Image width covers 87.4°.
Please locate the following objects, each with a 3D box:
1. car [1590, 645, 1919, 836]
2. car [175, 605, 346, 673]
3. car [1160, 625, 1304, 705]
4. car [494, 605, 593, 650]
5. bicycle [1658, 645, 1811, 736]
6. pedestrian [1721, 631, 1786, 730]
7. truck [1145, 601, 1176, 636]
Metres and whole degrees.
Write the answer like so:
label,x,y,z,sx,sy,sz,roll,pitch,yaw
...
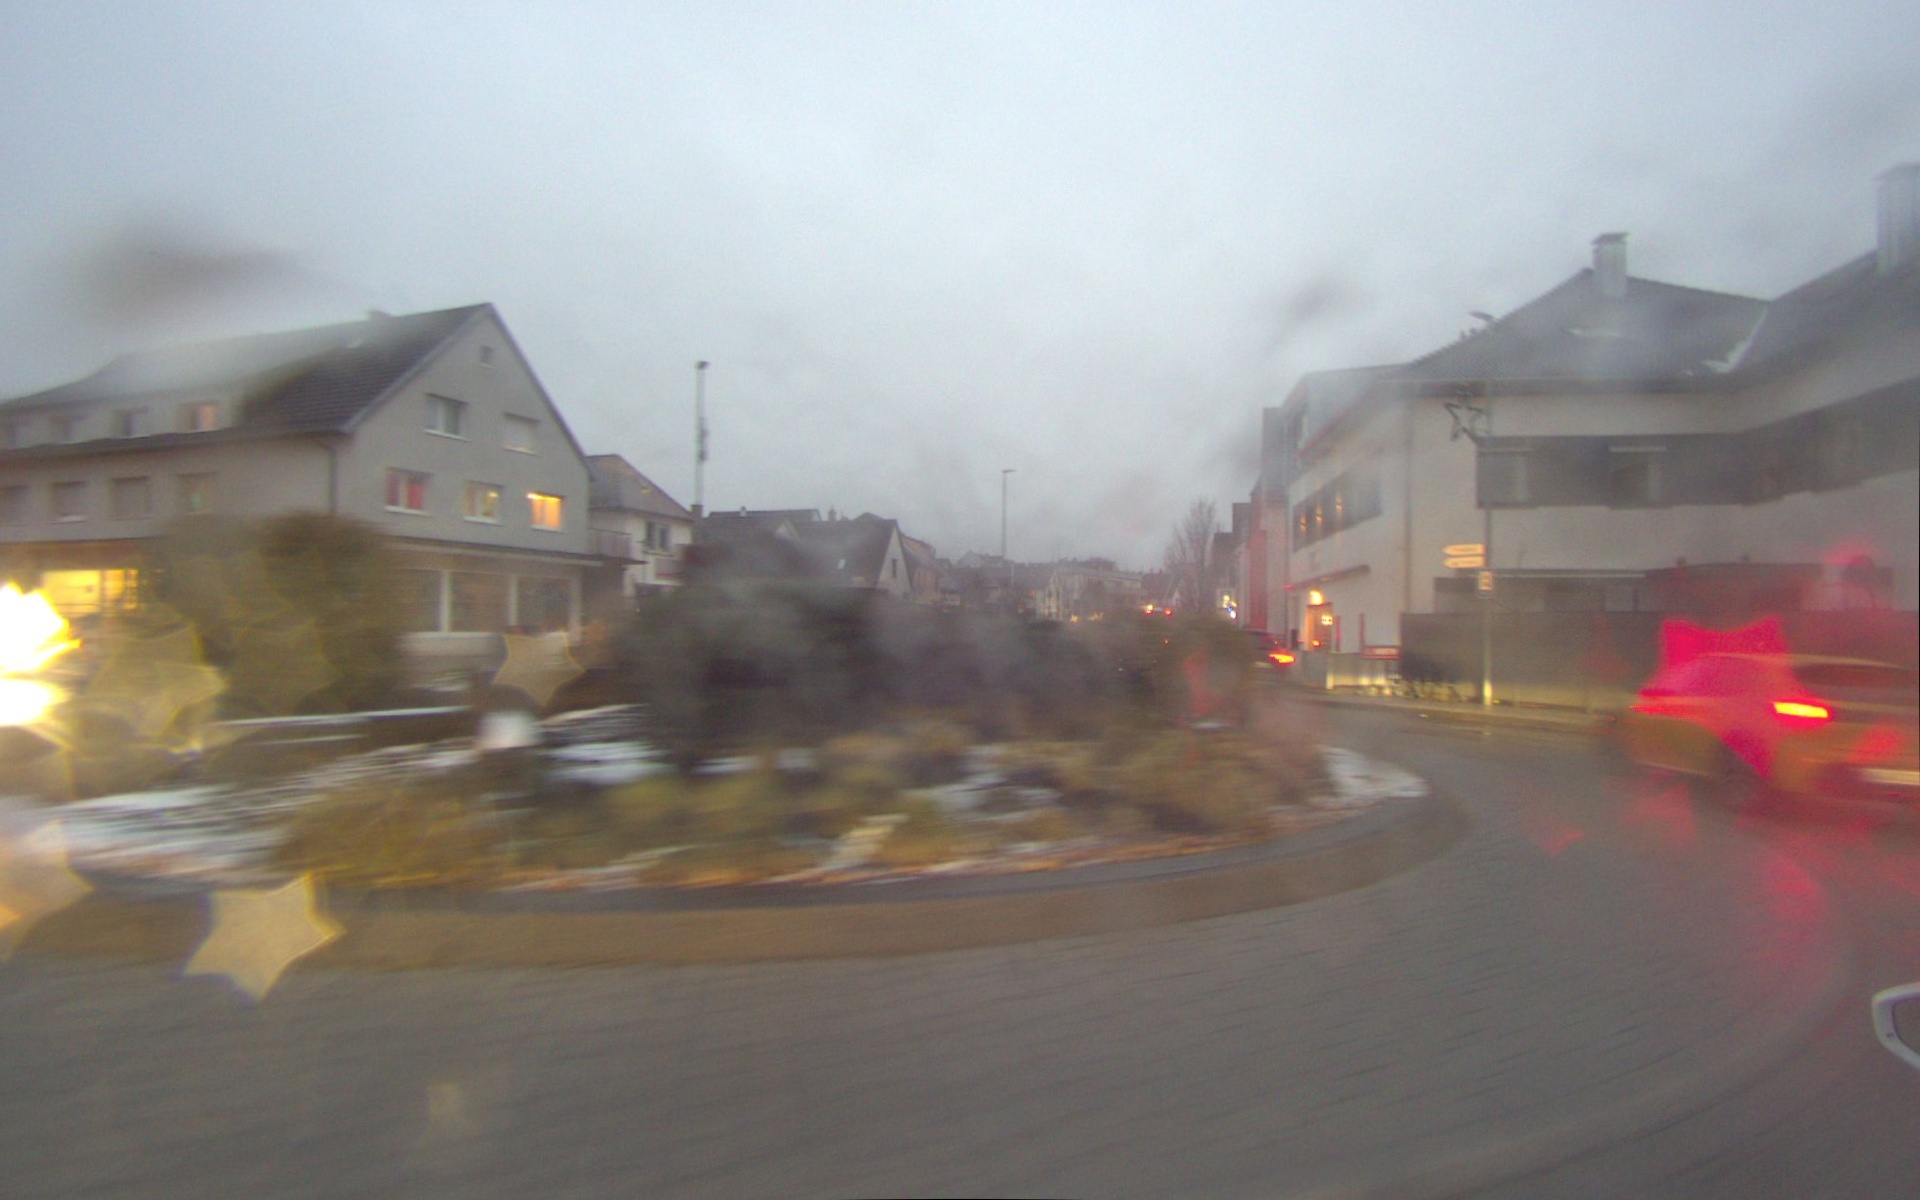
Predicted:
label,x,y,z,sx,sy,sz,roll,pitch,yaw
car,7.955,1.208,9.868,1.680,1.440,4.016,2,-2,12
car,-18.460,0.995,26.535,3.824,1.658,1.651,1,-1,16
car,6.220,1.446,23.453,1.886,1.637,3.946,1,0,-7
car,-18.336,1.188,44.222,3.924,1.821,1.808,1,-1,24
bicycle,12.756,1.453,16.610,0.545,1.313,1.924,0,1,-33
pedestrian,13.119,1.309,16.617,0.604,1.585,0.685,0,0,-34
truck,18.434,1.672,92.267,2.668,3.050,5.996,1,-1,12
